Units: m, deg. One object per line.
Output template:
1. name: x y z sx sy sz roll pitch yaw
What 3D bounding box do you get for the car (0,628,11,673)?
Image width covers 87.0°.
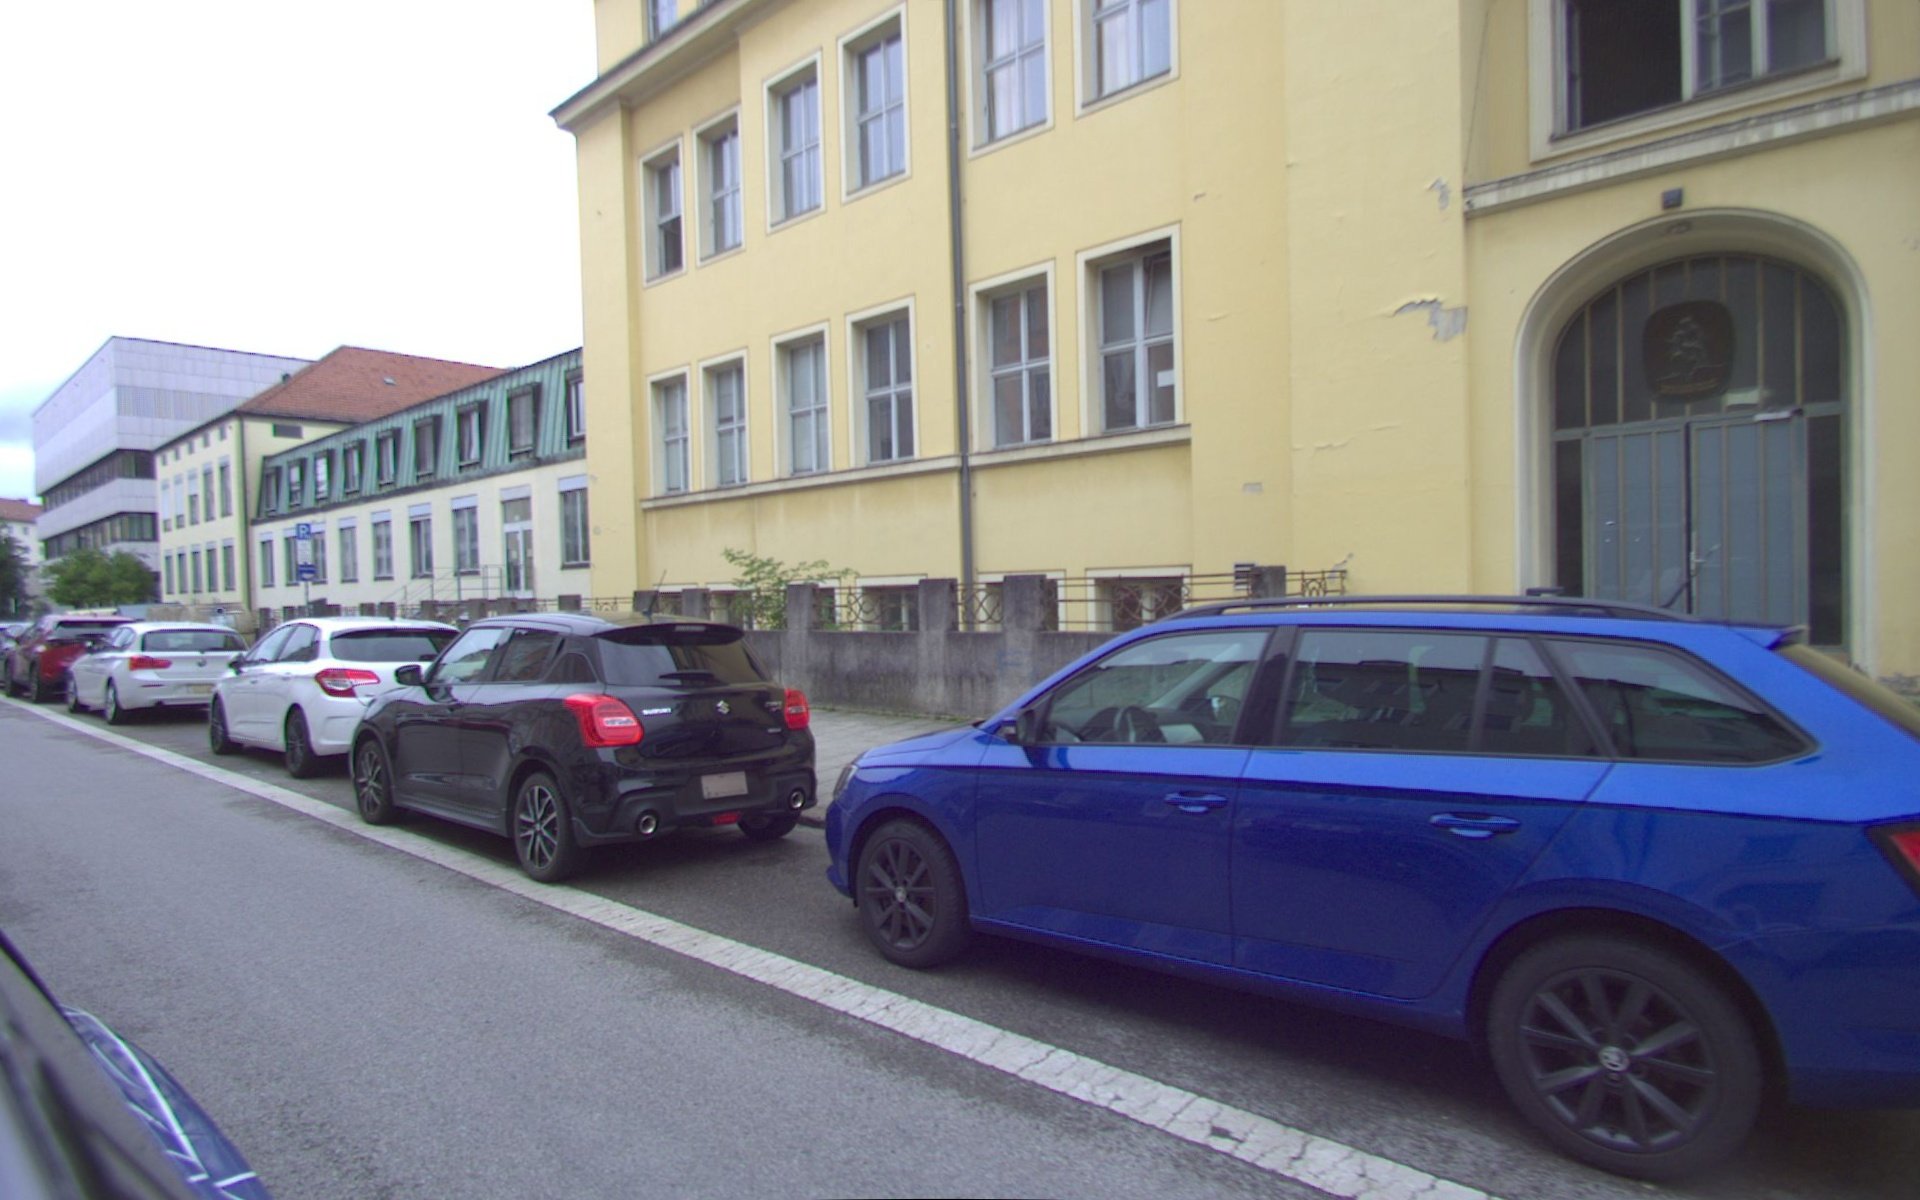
1. car: -31.857 1.601 32.520 4.000 1.416 1.677 -2 -3 43

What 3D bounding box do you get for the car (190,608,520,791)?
1. car: -6.396 0.913 10.525 4.084 1.539 1.705 -2 -3 41

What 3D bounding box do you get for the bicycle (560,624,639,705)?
1. bicycle: -5.431 0.936 15.185 0.578 1.085 1.721 -4 2 -37

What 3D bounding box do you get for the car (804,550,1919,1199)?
1. car: 1.393 0.701 3.750 3.968 1.516 1.663 -1 -2 39

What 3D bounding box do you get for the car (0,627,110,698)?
1. car: -20.207 1.312 22.065 3.983 1.416 1.659 -1 -3 37

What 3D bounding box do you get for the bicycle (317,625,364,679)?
1. bicycle: -14.595 1.205 23.829 1.938 1.181 0.419 -2 2 44

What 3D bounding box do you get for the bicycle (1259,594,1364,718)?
1. bicycle: 3.482 0.509 9.956 0.438 1.059 1.541 -1 2 39

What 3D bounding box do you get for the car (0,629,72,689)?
1. car: -23.940 1.446 25.410 4.123 1.416 1.776 -1 -3 39

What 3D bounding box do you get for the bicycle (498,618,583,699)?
1. bicycle: -6.816 0.920 16.408 1.717 1.206 0.579 -2 2 44

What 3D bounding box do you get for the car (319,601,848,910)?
1. car: -2.733 0.819 6.898 3.983 1.507 1.662 -2 -2 41

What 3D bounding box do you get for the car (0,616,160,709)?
1. car: -16.612 1.114 18.963 3.992 1.578 1.658 -1 -3 39

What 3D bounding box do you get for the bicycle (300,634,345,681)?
1. bicycle: -14.727 1.303 23.362 1.741 1.002 0.450 -2 2 44

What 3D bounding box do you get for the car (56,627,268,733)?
1. car: -12.193 1.133 15.390 3.992 1.408 1.658 -1 -3 39
